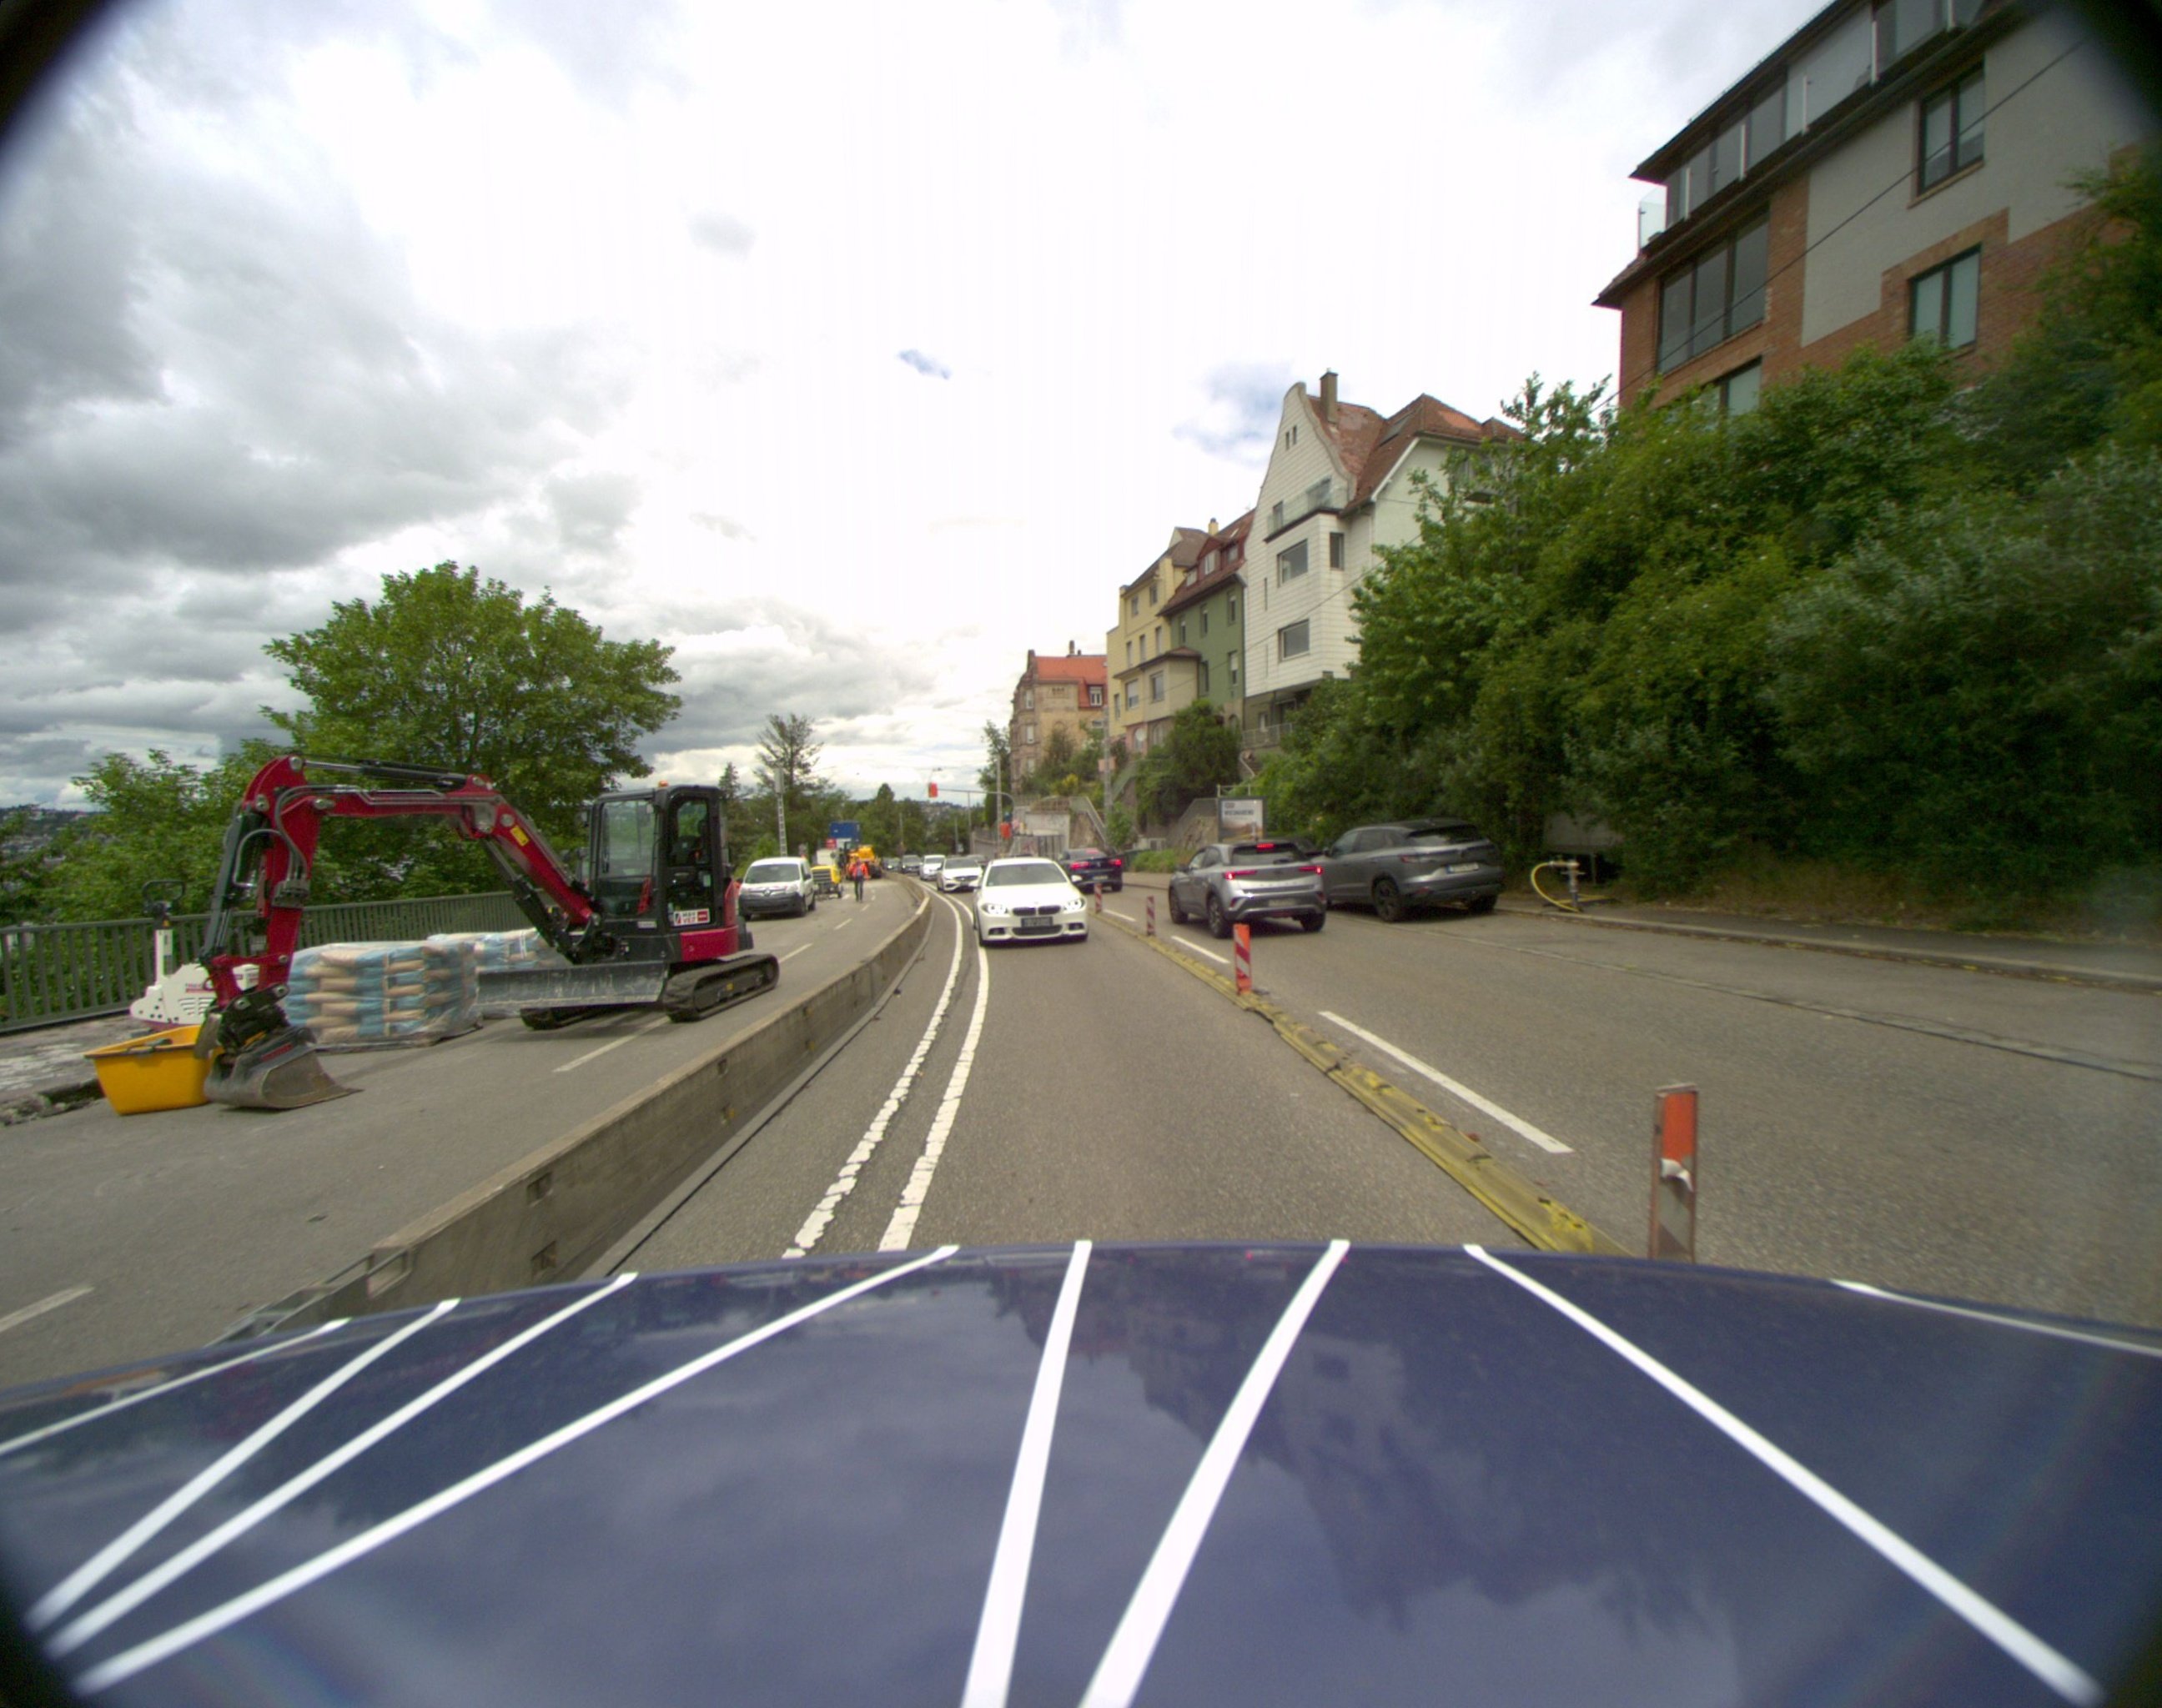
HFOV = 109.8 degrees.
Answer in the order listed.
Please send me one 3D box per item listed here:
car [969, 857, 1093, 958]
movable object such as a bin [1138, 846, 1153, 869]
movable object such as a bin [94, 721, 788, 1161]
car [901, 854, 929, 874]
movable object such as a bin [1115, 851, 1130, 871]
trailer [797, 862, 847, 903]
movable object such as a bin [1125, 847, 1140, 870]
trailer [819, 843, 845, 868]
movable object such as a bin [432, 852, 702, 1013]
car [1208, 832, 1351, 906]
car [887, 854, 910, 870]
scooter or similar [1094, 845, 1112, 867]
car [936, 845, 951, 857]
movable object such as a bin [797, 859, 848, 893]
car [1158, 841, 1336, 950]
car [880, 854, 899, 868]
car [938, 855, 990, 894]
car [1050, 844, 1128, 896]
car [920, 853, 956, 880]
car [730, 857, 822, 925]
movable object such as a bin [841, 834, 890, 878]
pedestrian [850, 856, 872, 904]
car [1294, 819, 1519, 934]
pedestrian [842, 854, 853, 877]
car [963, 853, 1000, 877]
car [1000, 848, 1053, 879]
[{"bbox_3d":[-1.090,0.850,14.190,1.793,1.472,4.240,-3,1,-10],"label":"car"},{"bbox_3d":[3.165,0.173,37.217,0.469,1.047,0.623,-5,2,-17],"label":"movable object such as a bin"},{"bbox_3d":[-4.949,0.528,7.229,2.217,2.647,4.944,-3,1,1],"label":"movable object such as a bin"},{"bbox_3d":[-13.514,0.793,61.722,1.802,1.501,3.993,0,1,-19],"label":"car"},{"bbox_3d":[2.019,0.315,36.834,0.469,0.929,0.623,-5,2,-17],"label":"movable object such as a bin"},{"bbox_3d":[-10.522,1.114,31.039,1.293,1.466,3.630,-3,1,-10],"label":"trailer"},{"bbox_3d":[2.494,0.226,36.972,0.469,1.047,0.623,-5,2,-17],"label":"movable object such as a bin"},{"bbox_3d":[-26.041,0.140,79.499,2.114,2.535,5.112,-1,0,-13],"label":"trailer"},{"bbox_3d":[-7.495,0.977,11.659,1.707,1.931,4.161,-3,1,-9],"label":"movable object such as a bin"},{"bbox_3d":[4.775,0.321,18.921,1.800,1.502,3.996,-5,1,-11],"label":"car"},{"bbox_3d":[-17.831,0.729,74.207,1.802,1.501,3.993,0,1,-19],"label":"car"},{"bbox_3d":[1.233,0.114,42.485,0.461,1.198,1.433,-5,2,-19],"label":"scooter or similar"},{"bbox_3d":[-19.890,-0.456,109.812,1.847,1.590,4.260,-3,1,-7],"label":"car"},{"bbox_3d":[-14.234,1.130,41.936,2.383,1.552,7.087,-4,1,-18],"label":"movable object such as a bin"},{"bbox_3d":[2.703,0.610,13.380,1.773,1.509,4.023,-3,1,-7],"label":"car"},{"bbox_3d":[-21.641,0.734,85.774,1.802,1.501,3.993,0,1,-19],"label":"car"},{"bbox_3d":[-5.084,0.808,32.548,1.794,1.472,4.239,-3,1,-13],"label":"car"},{"bbox_3d":[0.185,0.523,26.789,1.773,1.559,4.225,-4,1,-12],"label":"car"},{"bbox_3d":[-8.969,0.735,47.490,1.794,1.542,4.239,-2,0,-15],"label":"car"},{"bbox_3d":[-9.191,1.024,23.236,1.839,1.769,4.263,-3,1,-12],"label":"car"},{"bbox_3d":[-16.982,0.176,59.462,2.823,3.053,7.809,-4,1,-21],"label":"movable object such as a bin"},{"bbox_3d":[-8.067,0.927,27.832,0.647,1.692,0.849,-4,1,-17],"label":"pedestrian"},{"bbox_3d":[5.533,0.311,13.582,1.692,1.597,4.183,-5,1,-7],"label":"car"},{"bbox_3d":[-19.040,0.949,61.942,0.692,1.784,0.538,-3,1,-29],"label":"pedestrian"},{"bbox_3d":[-6.960,0.714,52.804,1.802,1.473,4.322,-5,2,-15],"label":"car"},{"bbox_3d":[-3.001,0.483,40.800,1.802,1.438,4.356,-4,1,-18],"label":"car"}]
